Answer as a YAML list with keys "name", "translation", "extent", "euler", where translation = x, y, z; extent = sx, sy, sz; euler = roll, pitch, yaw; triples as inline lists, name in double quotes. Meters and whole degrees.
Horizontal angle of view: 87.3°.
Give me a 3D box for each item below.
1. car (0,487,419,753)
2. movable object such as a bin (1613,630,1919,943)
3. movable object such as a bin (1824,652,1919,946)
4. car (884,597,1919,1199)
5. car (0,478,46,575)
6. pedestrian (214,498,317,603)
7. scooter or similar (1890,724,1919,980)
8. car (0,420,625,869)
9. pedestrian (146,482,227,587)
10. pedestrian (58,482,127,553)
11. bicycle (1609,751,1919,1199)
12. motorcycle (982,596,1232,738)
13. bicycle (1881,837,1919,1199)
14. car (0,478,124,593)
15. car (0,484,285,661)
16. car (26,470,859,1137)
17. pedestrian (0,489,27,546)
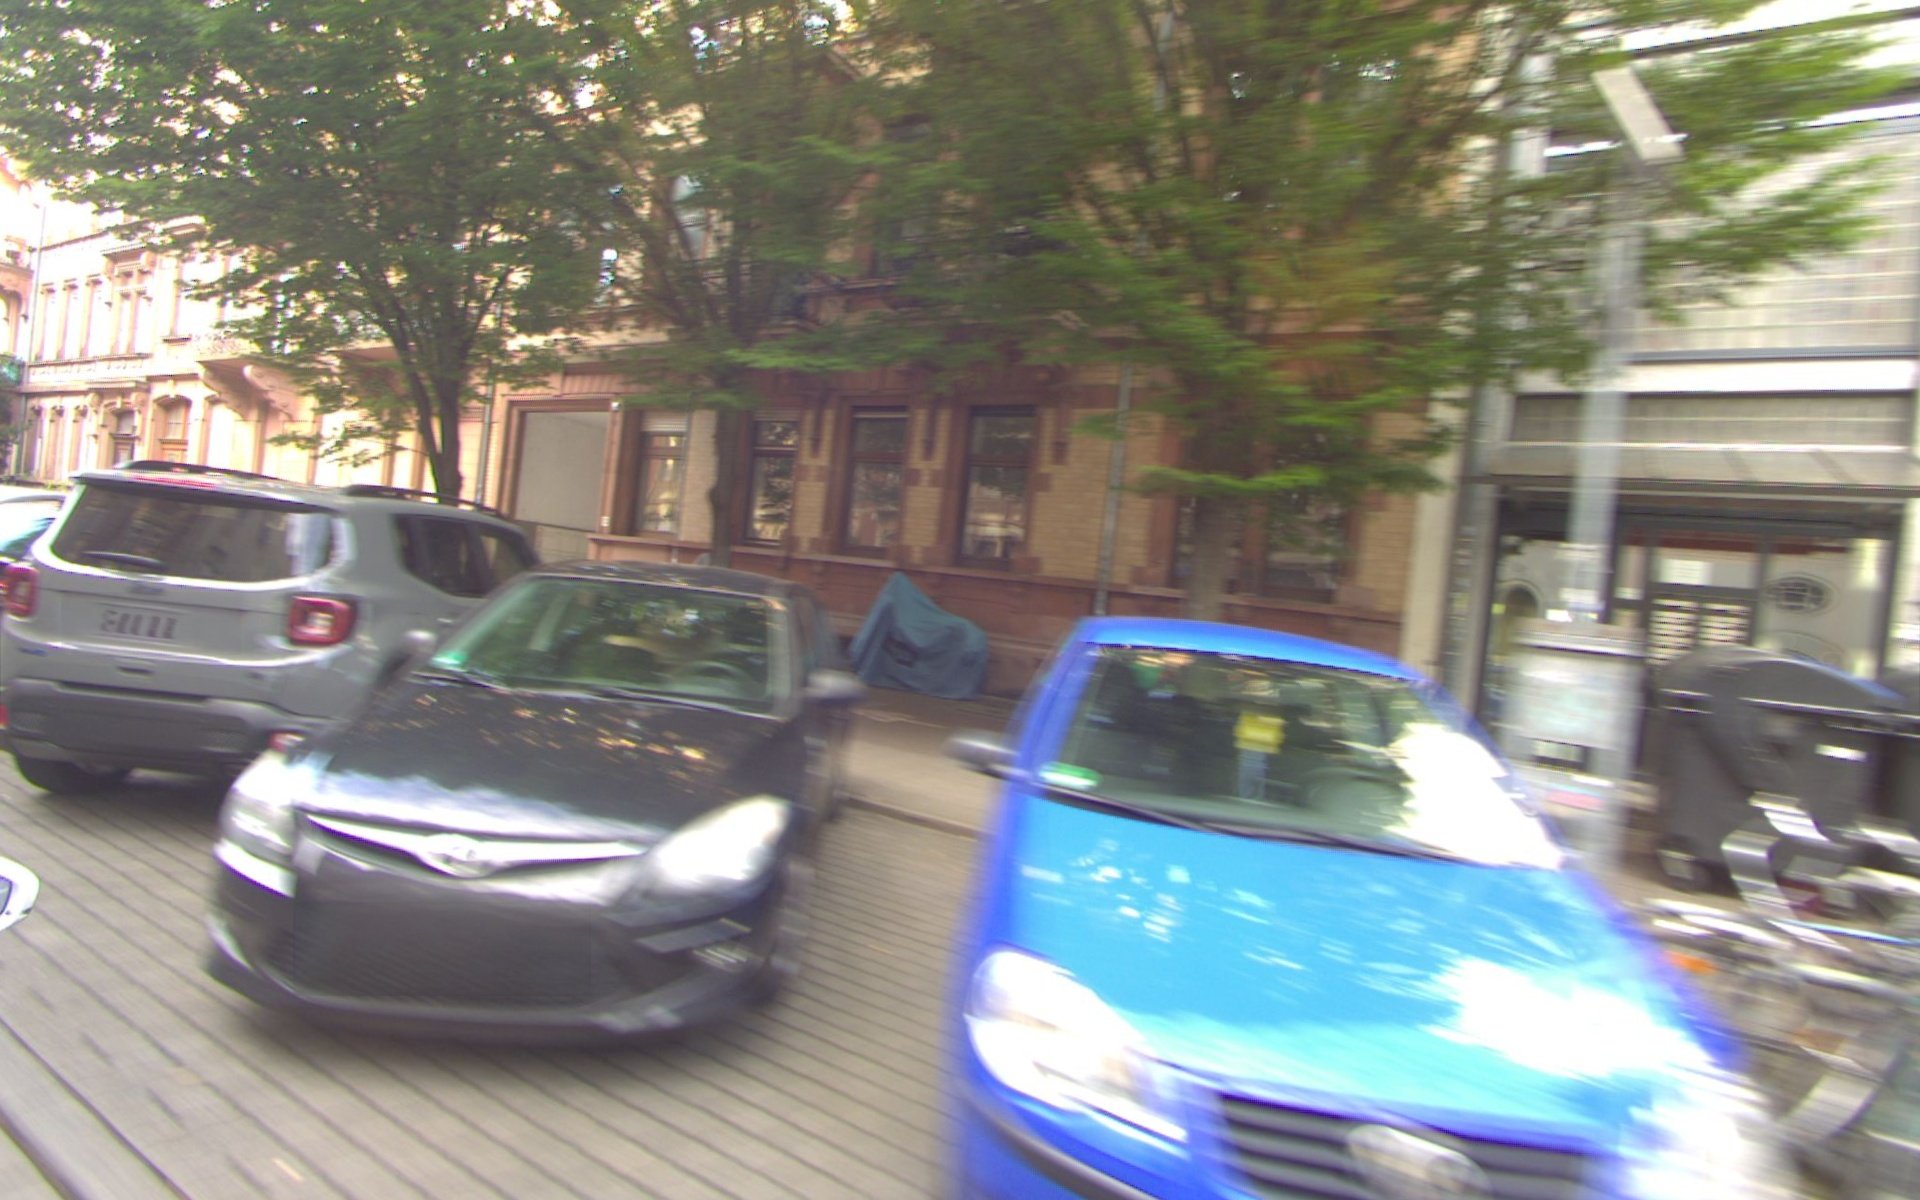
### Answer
- name: "car"
  translation: [-6.129, 0.013, 7.650]
  extent: [1.835, 1.435, 4.134]
  euler: [7, 0, -3]
- name: "movable object such as a bin"
  translation: [4.897, 1.039, 6.280]
  extent: [1.144, 1.482, 1.370]
  euler: [7, 7, 29]
- name: "movable object such as a bin"
  translation: [5.831, 1.133, 5.696]
  extent: [1.020, 1.467, 1.371]
  euler: [7, 5, 29]
- name: "car"
  translation: [0.915, 0.827, 3.539]
  extent: [1.692, 1.457, 3.998]
  euler: [6, 1, 5]
- name: "car"
  translation: [-15.438, -1.133, 14.033]
  extent: [1.703, 1.470, 3.995]
  euler: [5, 2, 0]
- name: "pedestrian"
  translation: [-11.090, -0.770, 16.094]
  extent: [0.986, 1.521, 0.719]
  euler: [7, 1, -6]
- name: "scooter or similar"
  translation: [5.219, 1.187, 4.581]
  extent: [0.521, 1.396, 1.305]
  euler: [7, -1, -44]
- name: "car"
  translation: [-3.658, 0.158, 6.213]
  extent: [1.819, 1.720, 3.997]
  euler: [7, 0, -3]
- name: "pedestrian"
  translation: [-12.965, -1.093, 16.861]
  extent: [0.819, 1.655, 0.732]
  euler: [6, 2, 29]
- name: "pedestrian"
  translation: [-20.661, -1.953, 23.969]
  extent: [0.798, 1.516, 0.929]
  euler: [7, 2, 25]
- name: "bicycle"
  translation: [3.009, 1.182, 3.214]
  extent: [1.690, 1.227, 0.468]
  euler: [6, 0, -15]
- name: "motorcycle"
  translation: [1.587, 0.707, 11.072]
  extent: [2.449, 1.201, 0.895]
  euler: [7, -1, 31]
- name: "bicycle"
  translation: [3.228, 1.249, 2.517]
  extent: [1.758, 1.167, 0.448]
  euler: [5, 0, -15]
- name: "car"
  translation: [-13.309, -0.909, 12.961]
  extent: [1.853, 1.480, 3.995]
  euler: [5, 1, -4]
- name: "car"
  translation: [-8.892, -0.333, 9.550]
  extent: [1.759, 1.470, 4.608]
  euler: [6, 1, 0]
- name: "car"
  translation: [-1.500, 0.582, 4.628]
  extent: [1.812, 1.539, 4.124]
  euler: [6, -1, -4]
- name: "pedestrian"
  translation: [-21.569, -1.869, 22.670]
  extent: [0.662, 1.236, 0.600]
  euler: [7, 3, 32]
